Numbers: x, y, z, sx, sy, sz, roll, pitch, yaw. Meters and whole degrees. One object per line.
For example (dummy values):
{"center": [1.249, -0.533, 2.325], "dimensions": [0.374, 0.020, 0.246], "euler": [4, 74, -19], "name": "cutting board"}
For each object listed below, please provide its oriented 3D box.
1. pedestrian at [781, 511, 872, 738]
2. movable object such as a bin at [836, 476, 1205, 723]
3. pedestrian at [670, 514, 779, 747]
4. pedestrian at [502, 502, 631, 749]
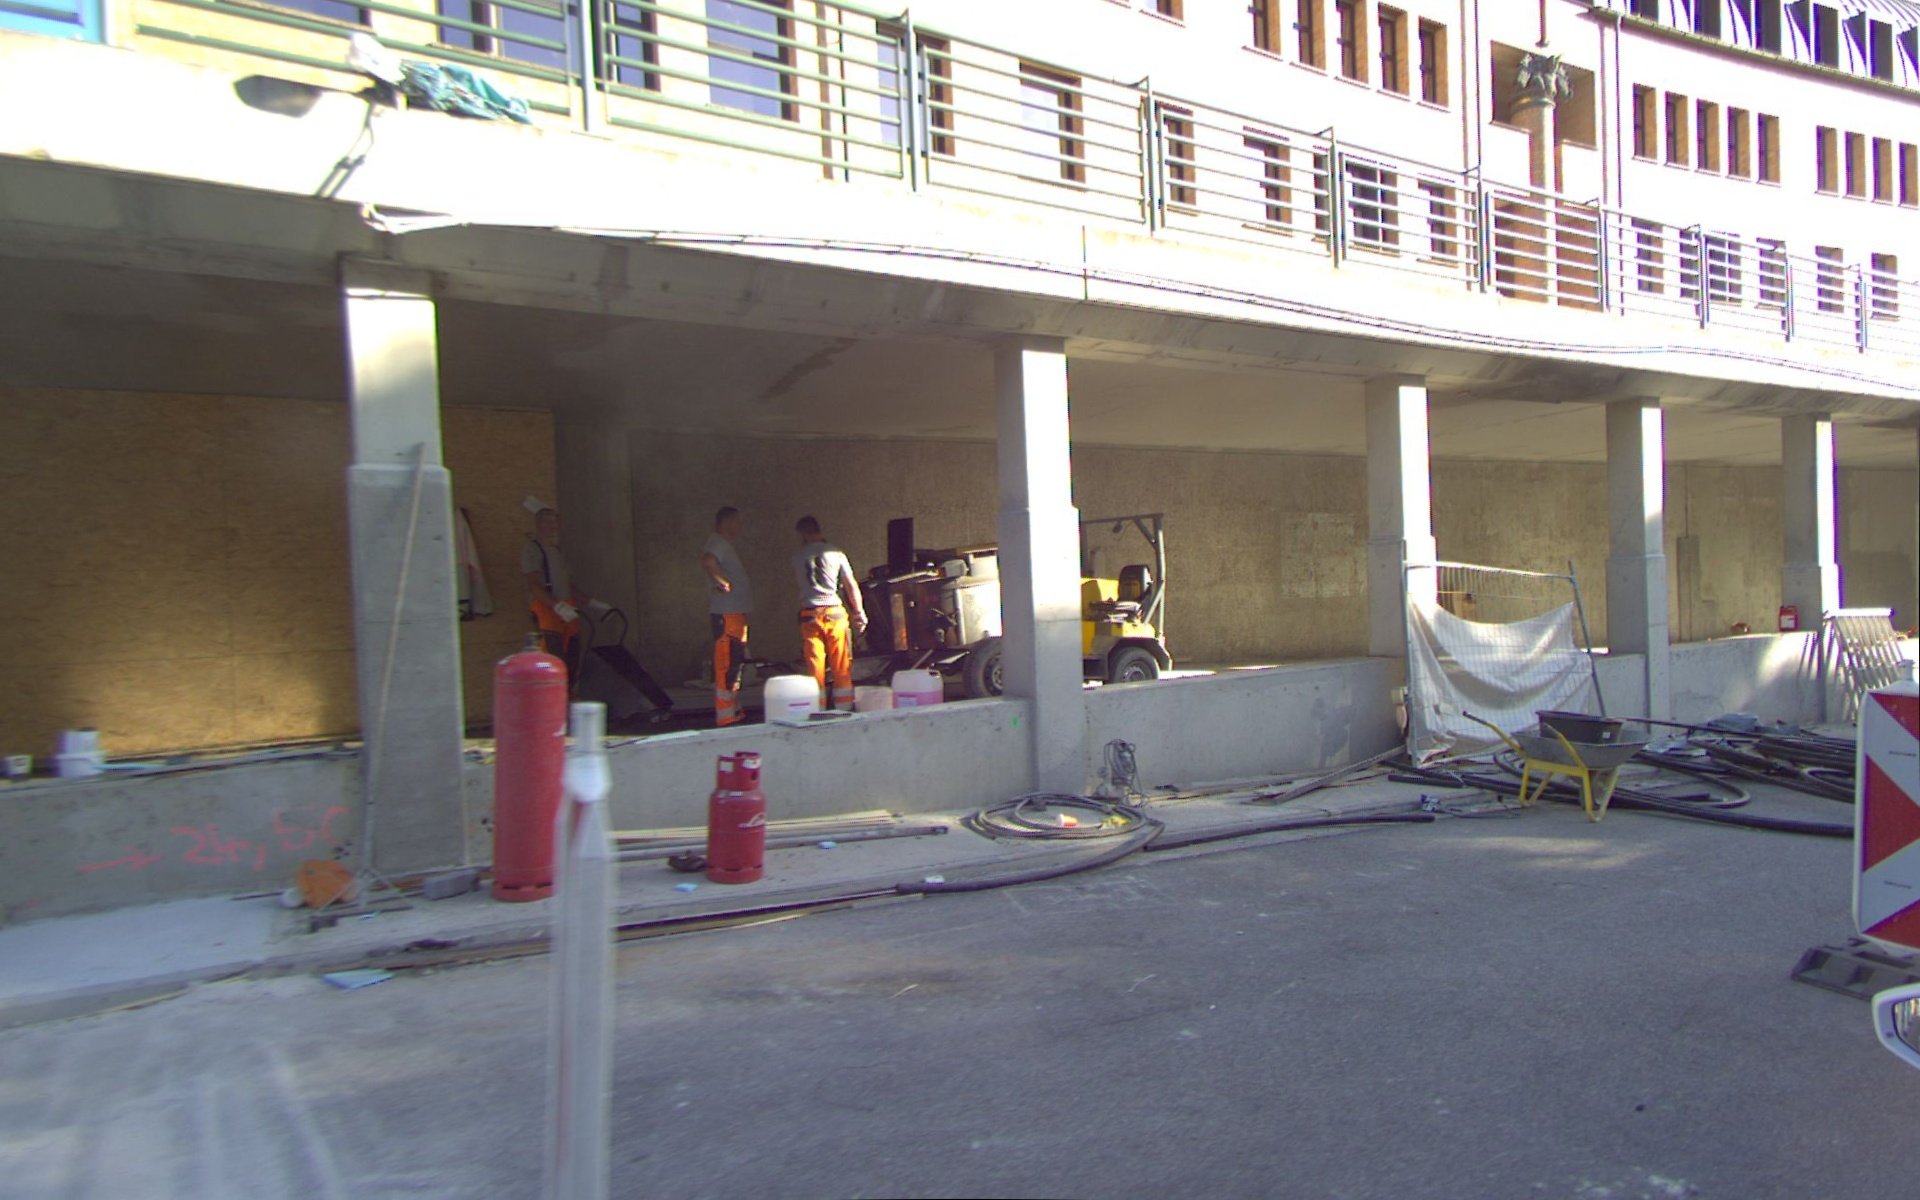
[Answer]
{"center": [-1.138, 0.195, 8.510], "dimensions": [0.615, 1.829, 0.655], "euler": [0, 1, -22], "name": "pedestrian"}
{"center": [0.605, -0.010, 9.814], "dimensions": [3.124, 2.014, 1.875], "euler": [0, 1, -32], "name": "movable object such as a bin"}
{"center": [-1.978, 0.239, 8.409], "dimensions": [0.702, 1.839, 0.700], "euler": [0, 1, -32], "name": "pedestrian"}
{"center": [-3.369, 0.204, 8.585], "dimensions": [0.926, 1.983, 0.674], "euler": [0, 1, -31], "name": "pedestrian"}
